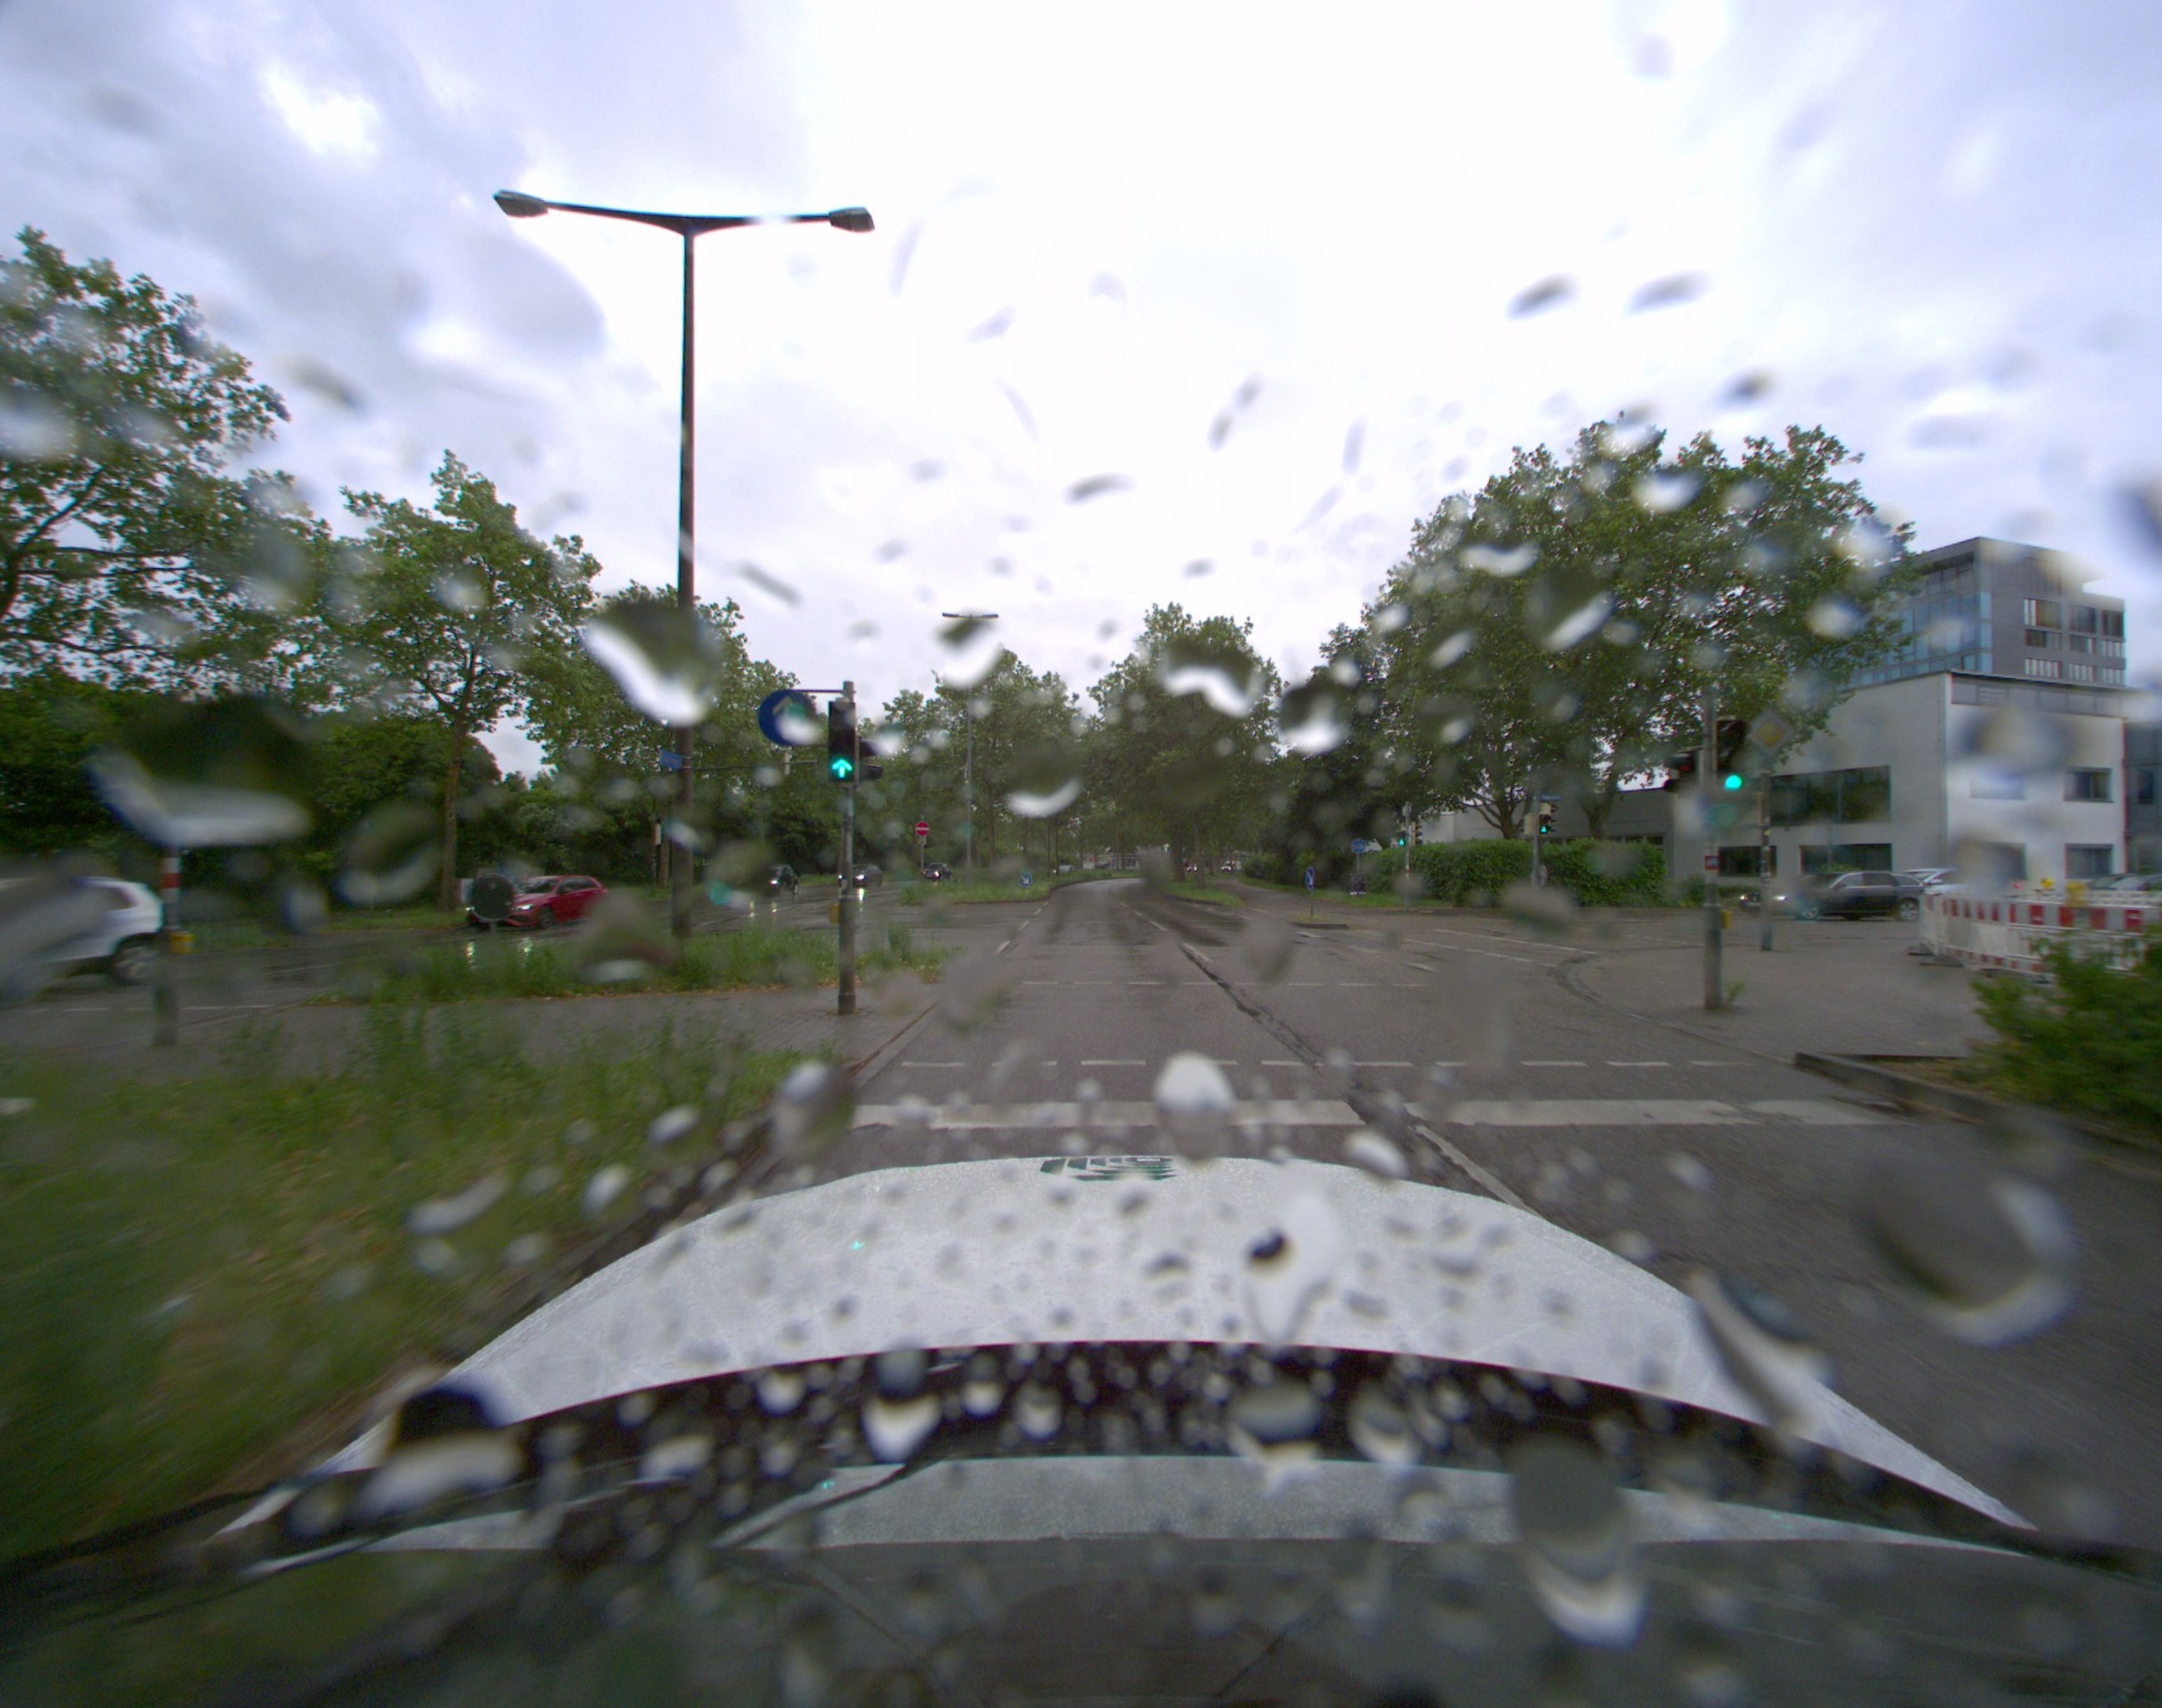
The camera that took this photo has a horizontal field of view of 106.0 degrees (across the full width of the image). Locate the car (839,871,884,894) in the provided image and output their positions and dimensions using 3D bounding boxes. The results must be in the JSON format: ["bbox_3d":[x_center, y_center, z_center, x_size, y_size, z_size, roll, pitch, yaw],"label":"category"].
[{"bbox_3d":[-14.257,1.821,53.091,1.581,1.373,4.264,-1,-1,2],"label":"car"}]

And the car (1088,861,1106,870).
[{"bbox_3d":[3.682,2.705,187.844,3.984,2.014,1.994,0,-2,-8],"label":"car"}]

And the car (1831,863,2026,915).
[{"bbox_3d":[27.192,1.097,26.251,4.276,1.590,1.889,-1,-1,1],"label":"car"}]

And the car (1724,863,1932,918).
[{"bbox_3d":[21.829,1.059,23.943,4.361,1.483,1.853,-1,-2,1],"label":"car"}]

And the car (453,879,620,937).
[{"bbox_3d":[-15.324,1.459,23.257,1.737,1.408,4.444,-1,-1,1],"label":"car"}]

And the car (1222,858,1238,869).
[{"bbox_3d":[30.926,2.005,168.937,2.262,2.272,5.999,0,-1,22],"label":"car"}]

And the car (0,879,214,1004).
[{"bbox_3d":[-15.406,1.223,11.412,1.738,1.631,4.443,-1,-1,0],"label":"car"}]

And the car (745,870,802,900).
[{"bbox_3d":[-15.216,1.524,40.409,1.582,1.373,3.332,-1,-1,-1],"label":"car"}]

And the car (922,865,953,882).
[{"bbox_3d":[-12.030,1.624,68.344,1.580,1.373,4.266,-1,-1,4],"label":"car"}]
